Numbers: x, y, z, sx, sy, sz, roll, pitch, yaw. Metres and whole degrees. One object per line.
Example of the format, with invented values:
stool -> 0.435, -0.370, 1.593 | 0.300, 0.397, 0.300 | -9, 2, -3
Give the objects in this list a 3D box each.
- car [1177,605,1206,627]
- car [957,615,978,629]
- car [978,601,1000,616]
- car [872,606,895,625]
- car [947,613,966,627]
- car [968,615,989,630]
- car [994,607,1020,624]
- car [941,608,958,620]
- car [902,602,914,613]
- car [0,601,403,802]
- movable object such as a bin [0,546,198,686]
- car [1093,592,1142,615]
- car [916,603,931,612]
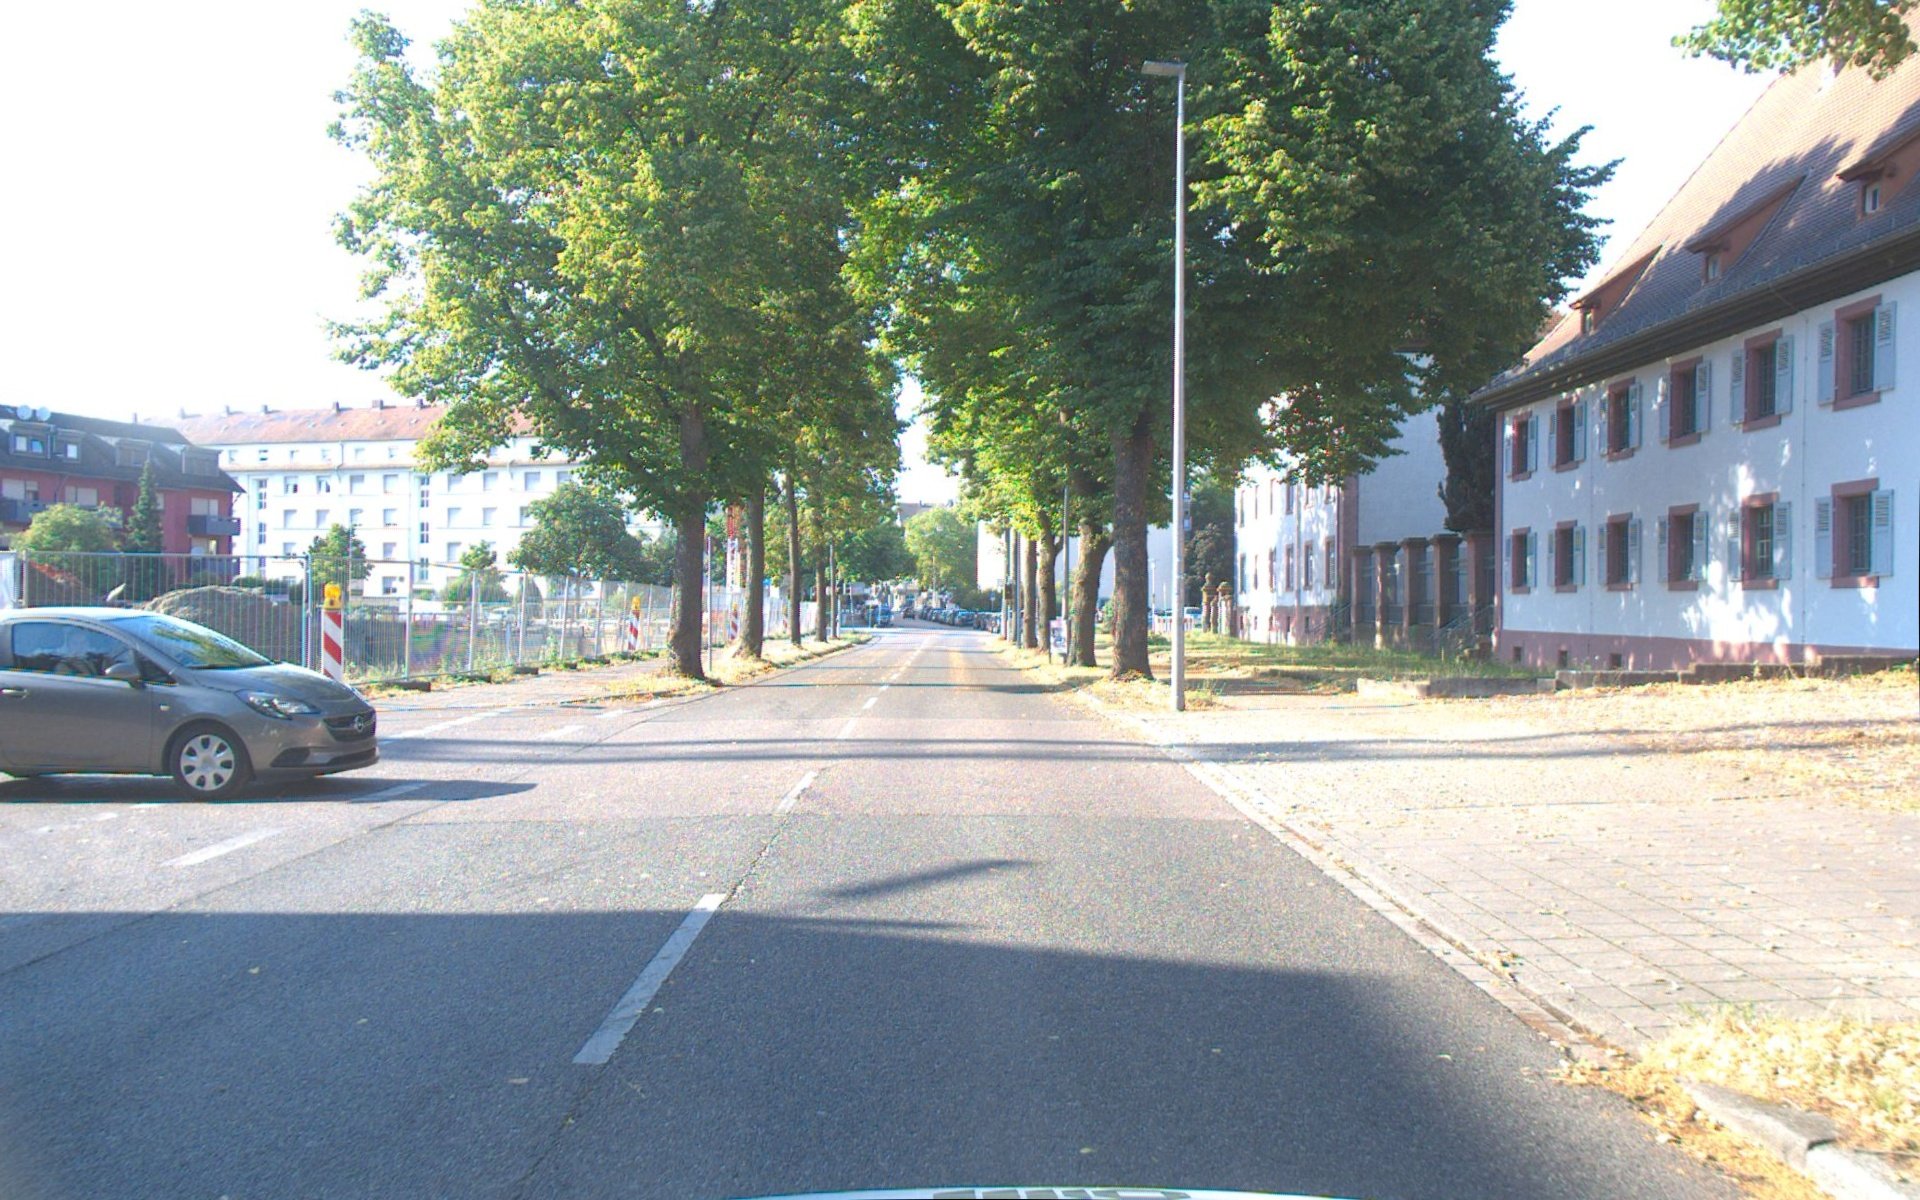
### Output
car -> 17.709, 1.245, 126.875 | 1.775, 1.587, 3.626 | 2, -2, 2
car -> 0.765, 2.209, 167.020 | 1.805, 1.410, 3.997 | 0, 0, -4
car -> 2.485, 0.713, 141.959 | 1.804, 1.283, 3.999 | 0, 0, -1
car -> -7.148, 1.478, 154.033 | 1.955, 1.717, 3.994 | 0, -1, -6
car -> -0.344, 2.158, 177.981 | 1.805, 1.410, 3.997 | 0, -1, -4
car -> 1.619, 2.039, 148.829 | 1.804, 1.283, 3.999 | 0, -1, -1
car -> 3.572, 1.176, 126.217 | 1.743, 1.248, 3.999 | 0, 0, -1
car -> -1.231, 1.588, 189.989 | 1.805, 1.410, 3.997 | 0, -1, -4
car -> -7.530, 1.139, 239.693 | 1.680, 1.512, 3.996 | 0, -1, -4
car -> -6.729, 0.796, 13.518 | 3.764, 1.499, 1.651 | -1, 0, 2
movable object such as a bin -> -35.050, 0.636, 63.568 | 2.948, 5.080, 11.560 | -2, -1, 22
car -> 13.283, 0.277, 139.531 | 3.905, 1.758, 1.773 | 2, -1, 0
car -> -5.264, 1.078, 239.767 | 1.805, 1.410, 3.995 | 0, 0, -6
